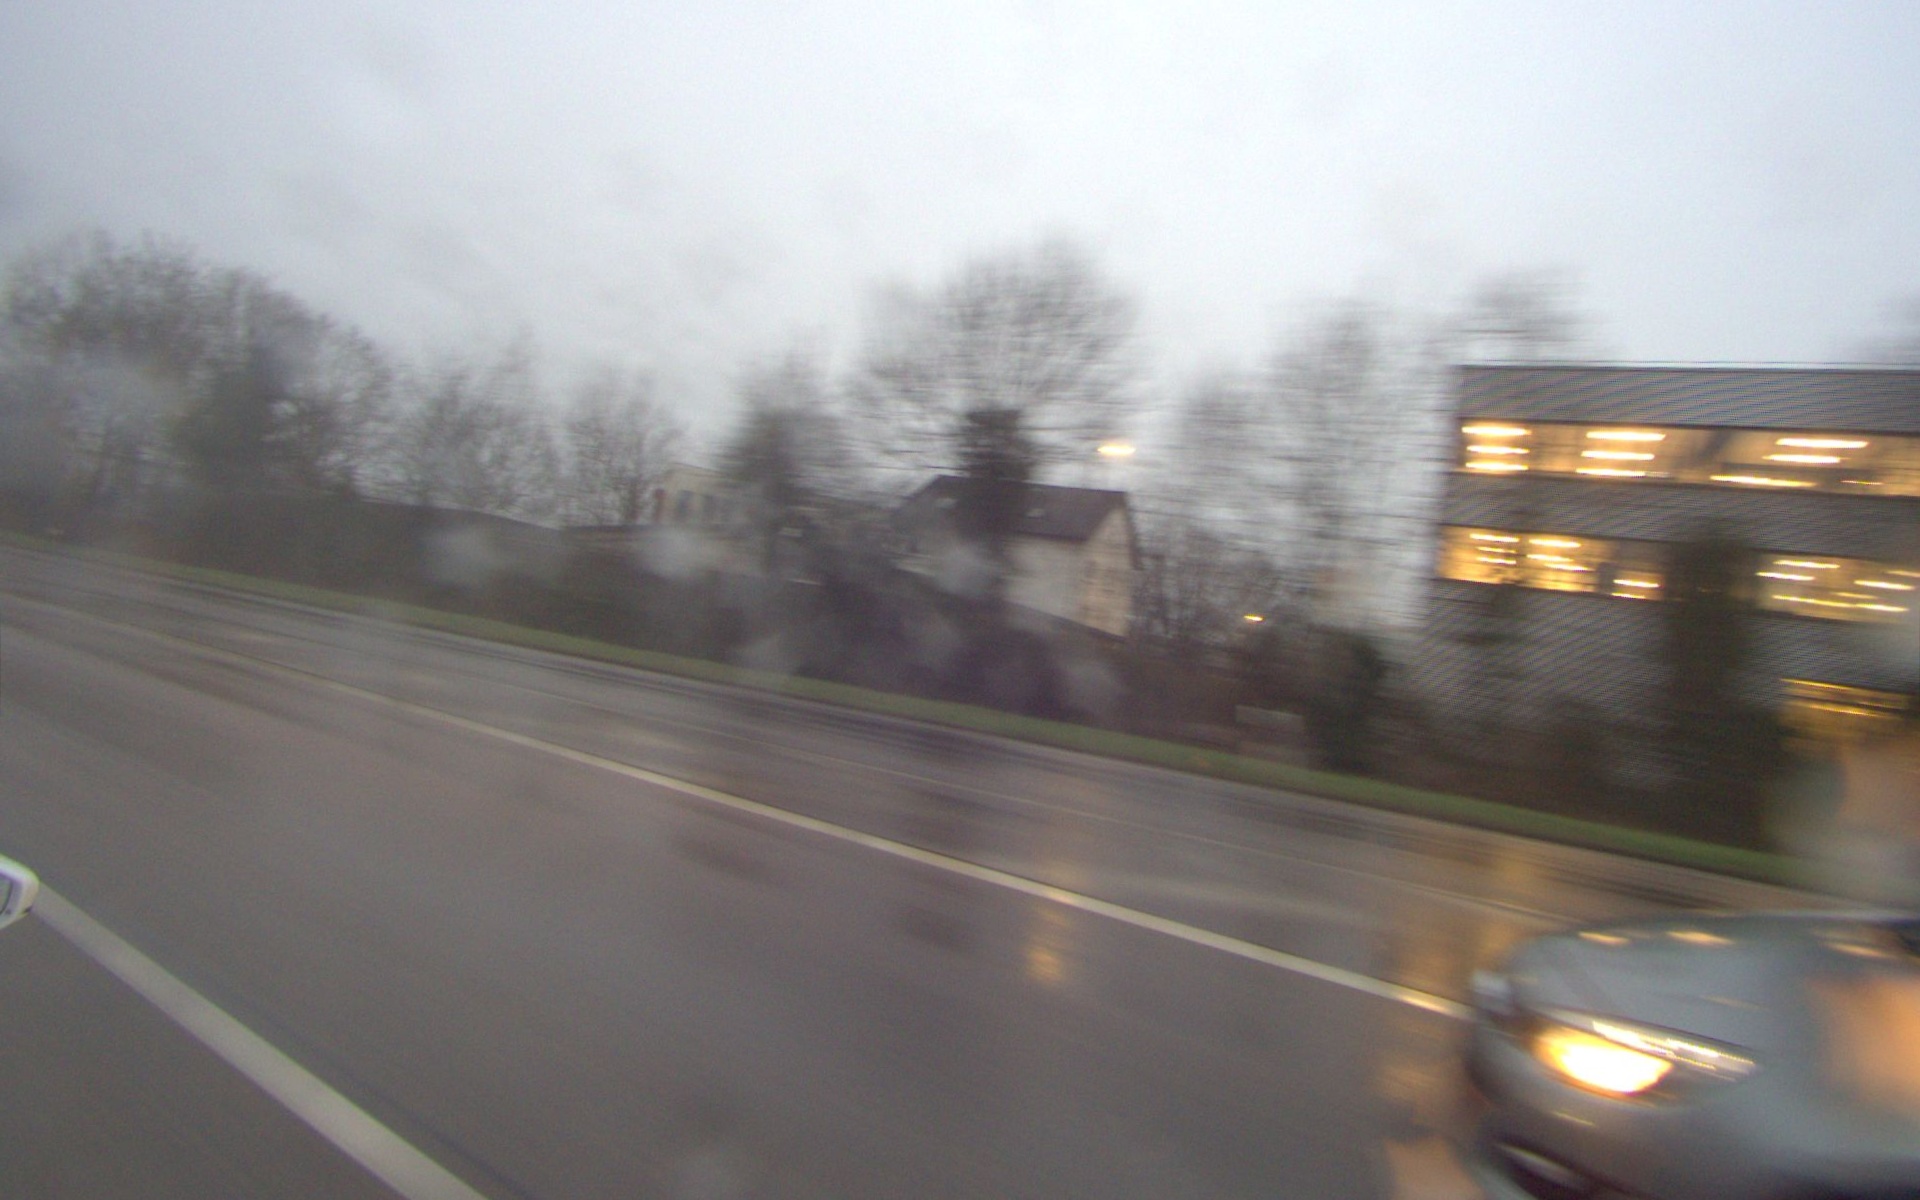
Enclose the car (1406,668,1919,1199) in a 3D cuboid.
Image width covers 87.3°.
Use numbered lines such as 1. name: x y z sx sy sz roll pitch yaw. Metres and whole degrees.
1. car: 3.357 1.219 2.044 4.193 1.518 1.853 6 -3 33
